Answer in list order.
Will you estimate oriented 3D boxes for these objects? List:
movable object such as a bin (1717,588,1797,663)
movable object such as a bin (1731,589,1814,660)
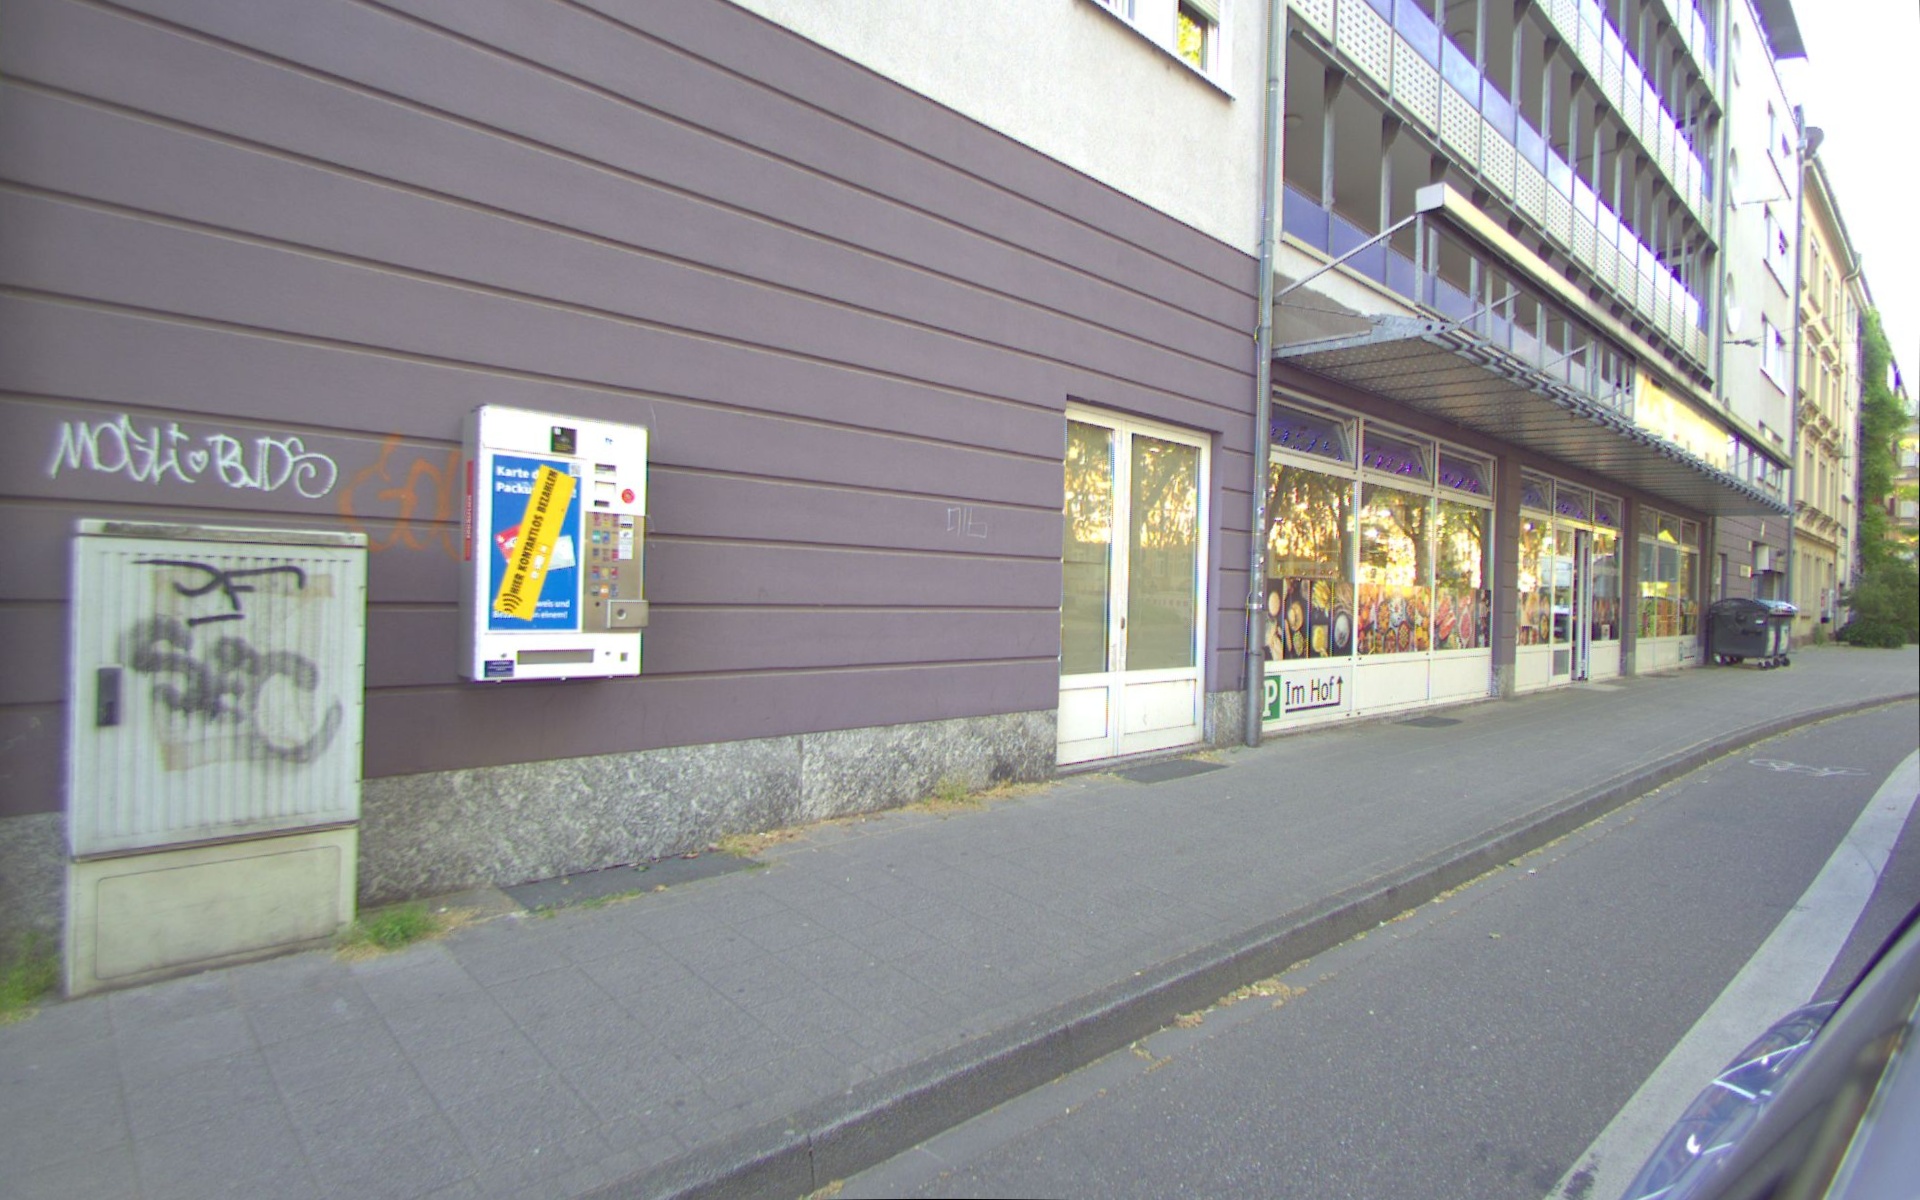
[{"bbox_3d":[16.444,0.494,20.878,1.274,1.465,1.068,1,1,-42],"label":"movable object such as a bin"},{"bbox_3d":[17.793,0.514,22.166,1.282,1.464,1.123,1,1,-38],"label":"movable object such as a bin"}]
